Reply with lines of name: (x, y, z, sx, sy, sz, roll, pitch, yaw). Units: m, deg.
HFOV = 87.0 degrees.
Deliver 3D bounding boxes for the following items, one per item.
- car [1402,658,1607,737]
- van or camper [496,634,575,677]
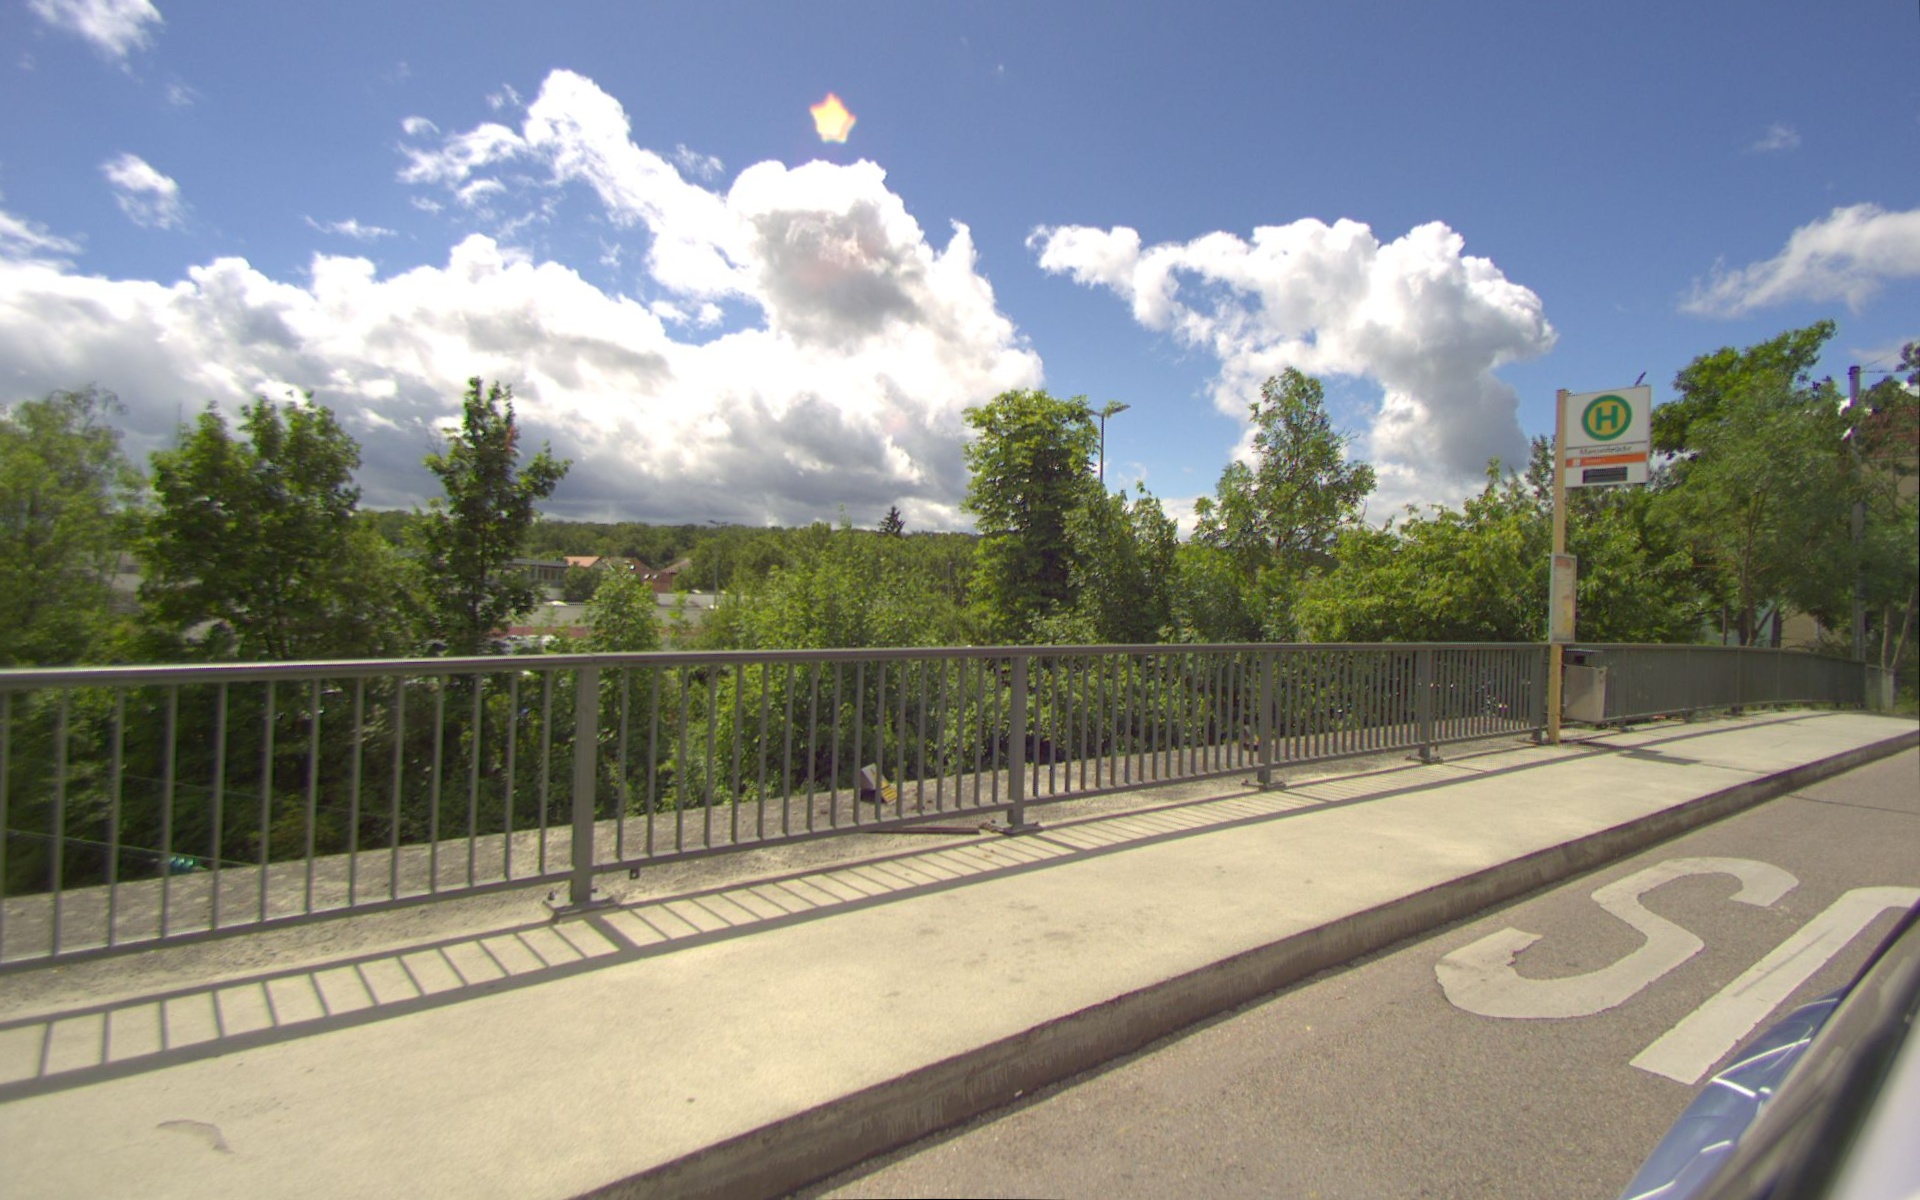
car: (13.572, 2.383, 25.525, 4.296, 1.691, 1.859, 1, -2, 20)
van or camper: (-28.012, 3.690, 66.790, 5.252, 2.728, 1.909, -2, -4, 28)
